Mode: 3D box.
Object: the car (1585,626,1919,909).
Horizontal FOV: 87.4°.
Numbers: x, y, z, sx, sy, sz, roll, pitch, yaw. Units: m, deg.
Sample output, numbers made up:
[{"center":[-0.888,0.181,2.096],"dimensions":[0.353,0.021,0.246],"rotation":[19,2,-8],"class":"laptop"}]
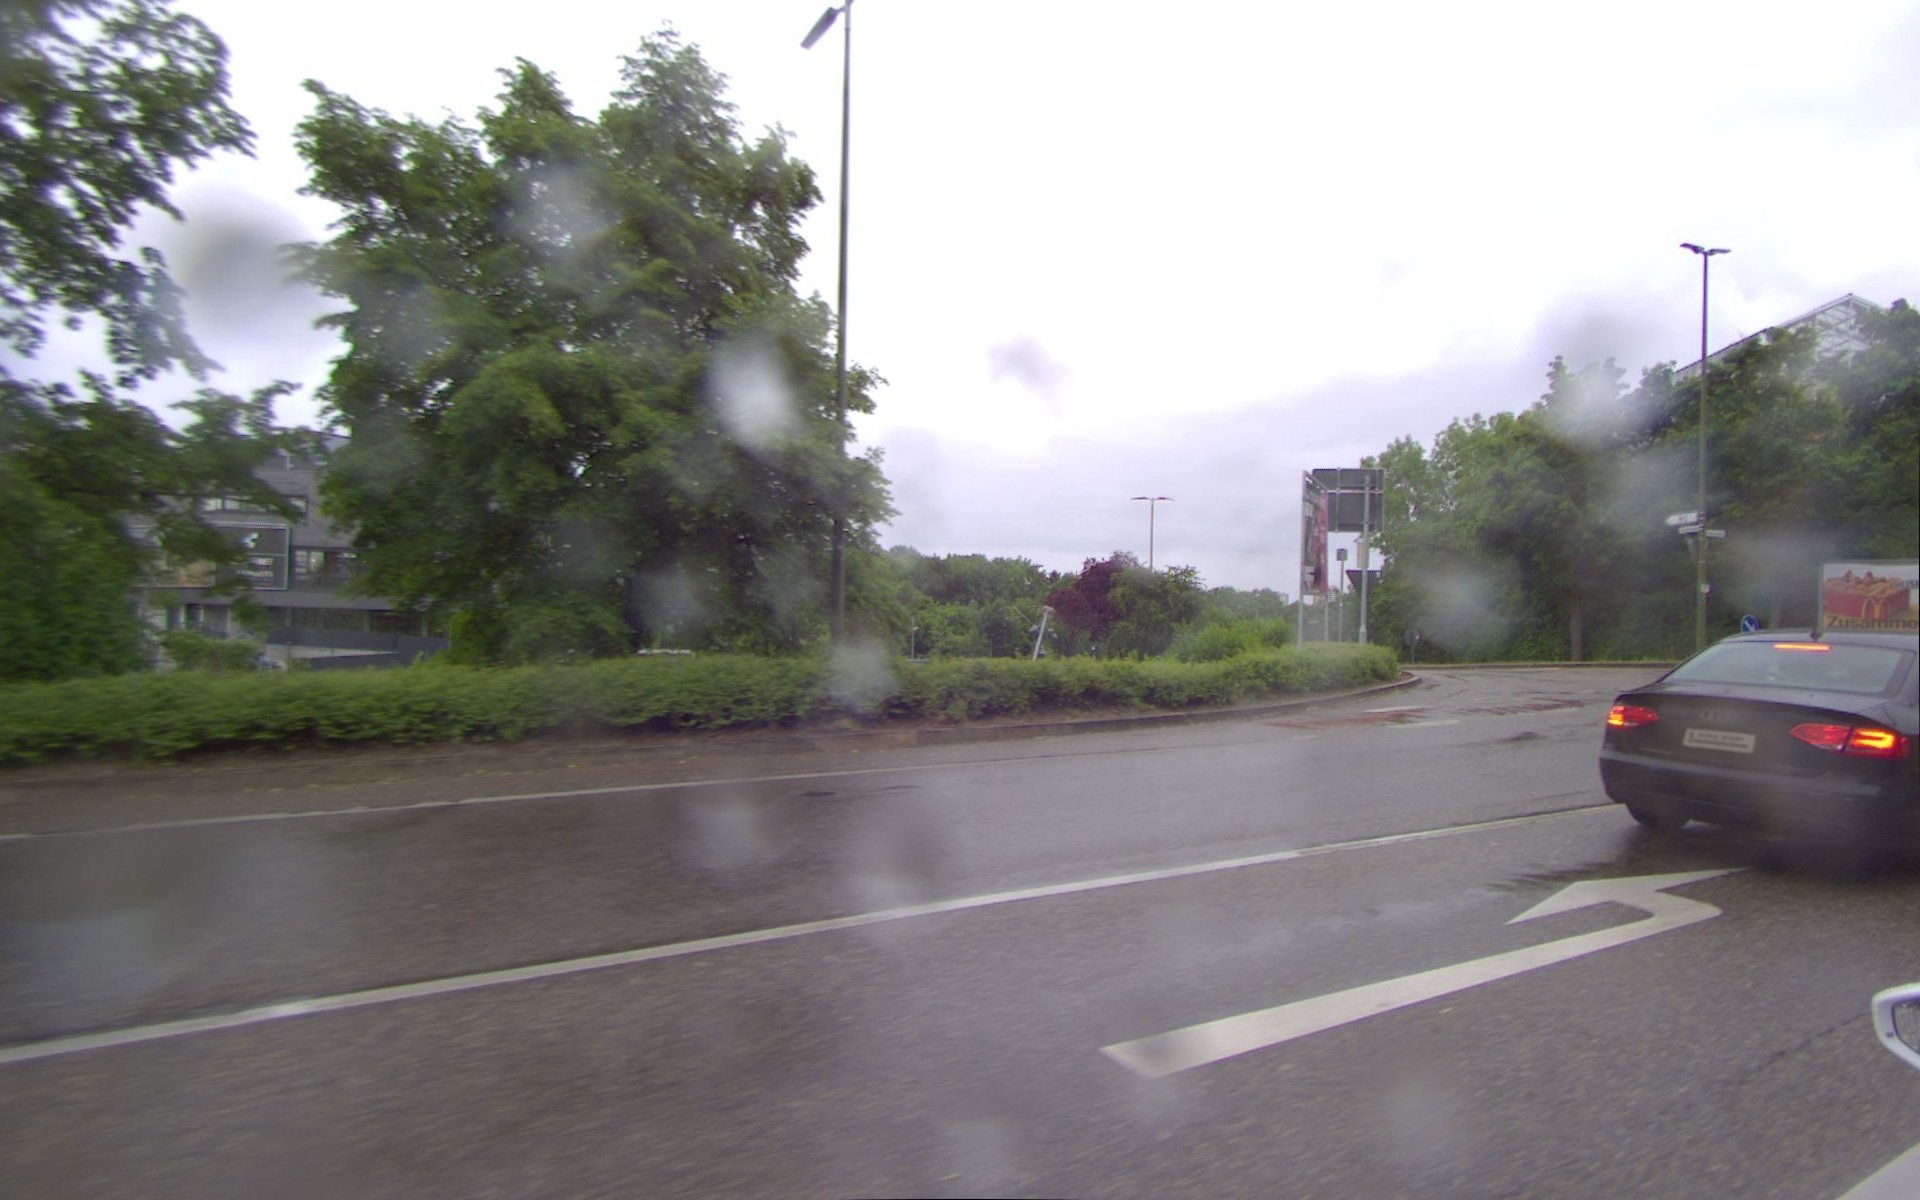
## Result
[{"center":[6.338,0.940,6.917],"dimensions":[3.951,1.414,1.747],"rotation":[2,0,-29],"class":"car"}]
